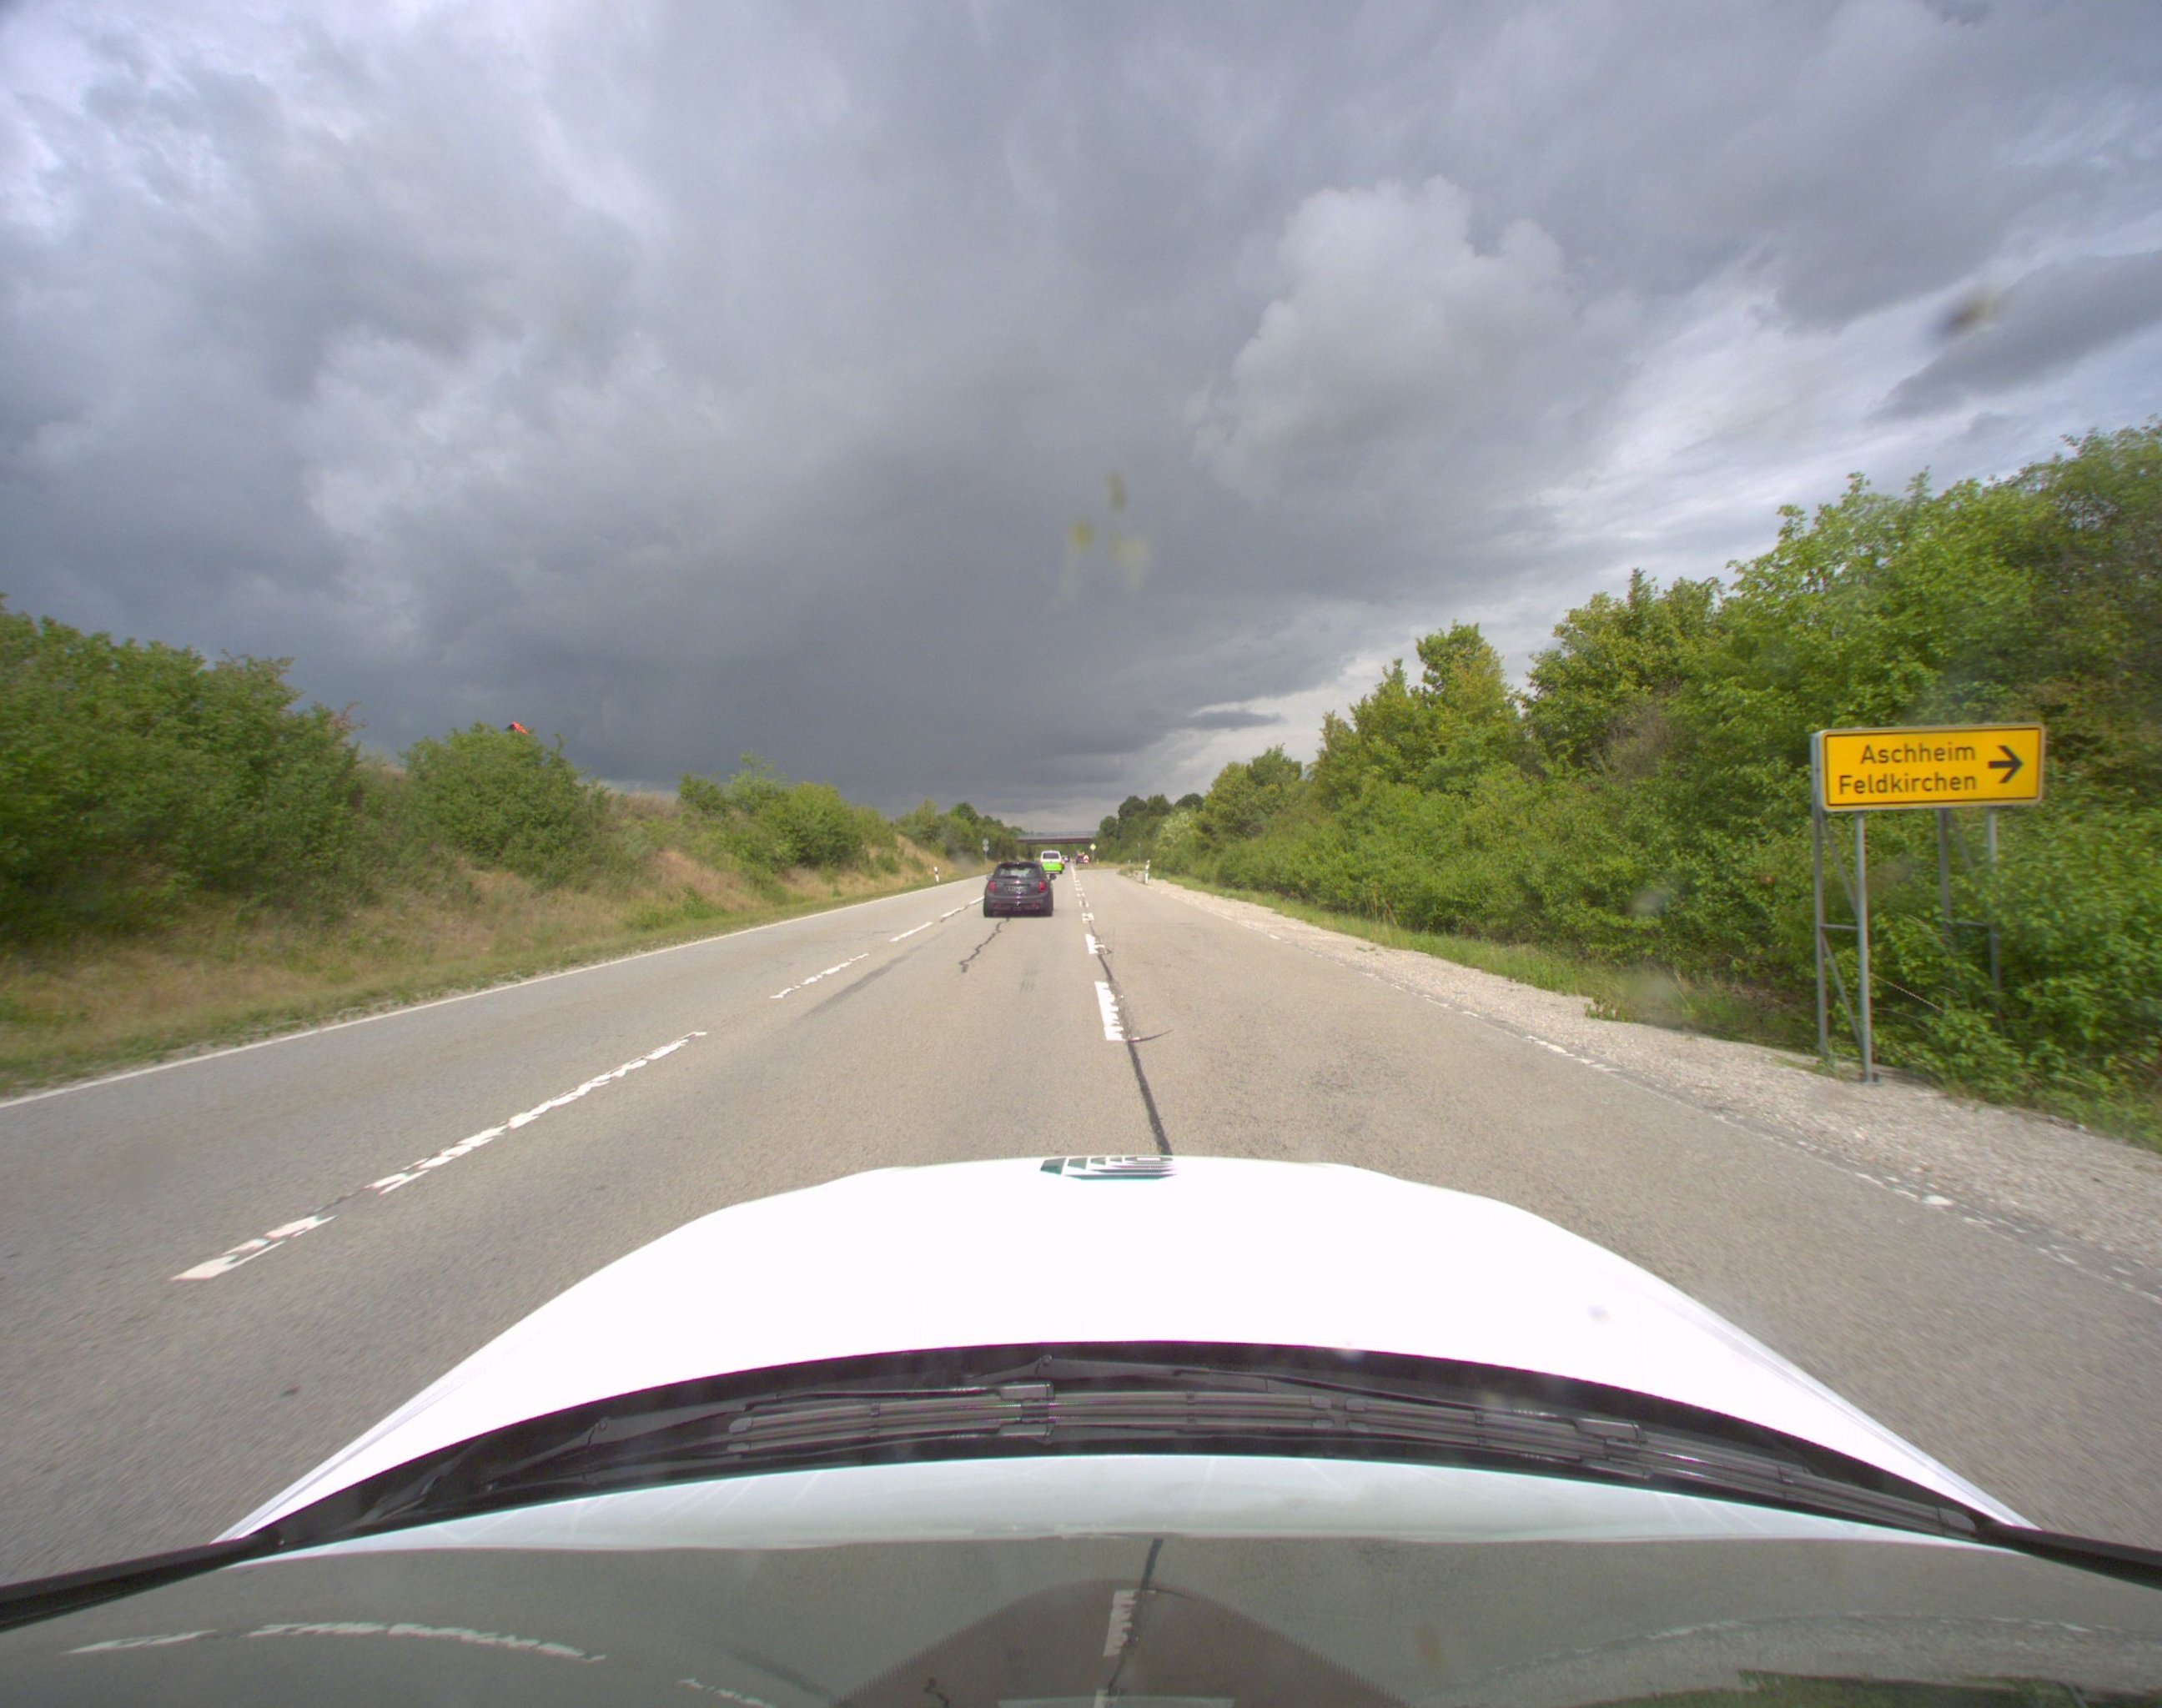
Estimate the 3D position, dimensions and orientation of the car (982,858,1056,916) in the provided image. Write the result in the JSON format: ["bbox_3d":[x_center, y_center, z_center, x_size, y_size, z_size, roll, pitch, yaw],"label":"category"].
[{"bbox_3d":[-1.576,0.819,22.064,1.751,1.427,3.998,0,0,-1],"label":"car"}]

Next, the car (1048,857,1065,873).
[{"bbox_3d":[-2.833,1.264,94.102,1.812,1.750,4.000,0,0,1],"label":"car"}]

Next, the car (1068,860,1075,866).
[{"bbox_3d":[-2.568,2.447,222.593,1.661,1.403,4.002,0,0,2],"label":"car"}]

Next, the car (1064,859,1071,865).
[{"bbox_3d":[-3.428,1.982,201.357,1.662,1.403,3.999,0,0,-1],"label":"car"}]

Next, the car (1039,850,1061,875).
[{"bbox_3d":[-2.651,0.714,70.102,1.814,2.054,3.998,0,0,-1],"label":"car"}]

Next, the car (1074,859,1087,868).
[{"bbox_3d":[-0.066,1.596,140.825,1.989,1.552,3.995,0,0,-3],"label":"car"}]
